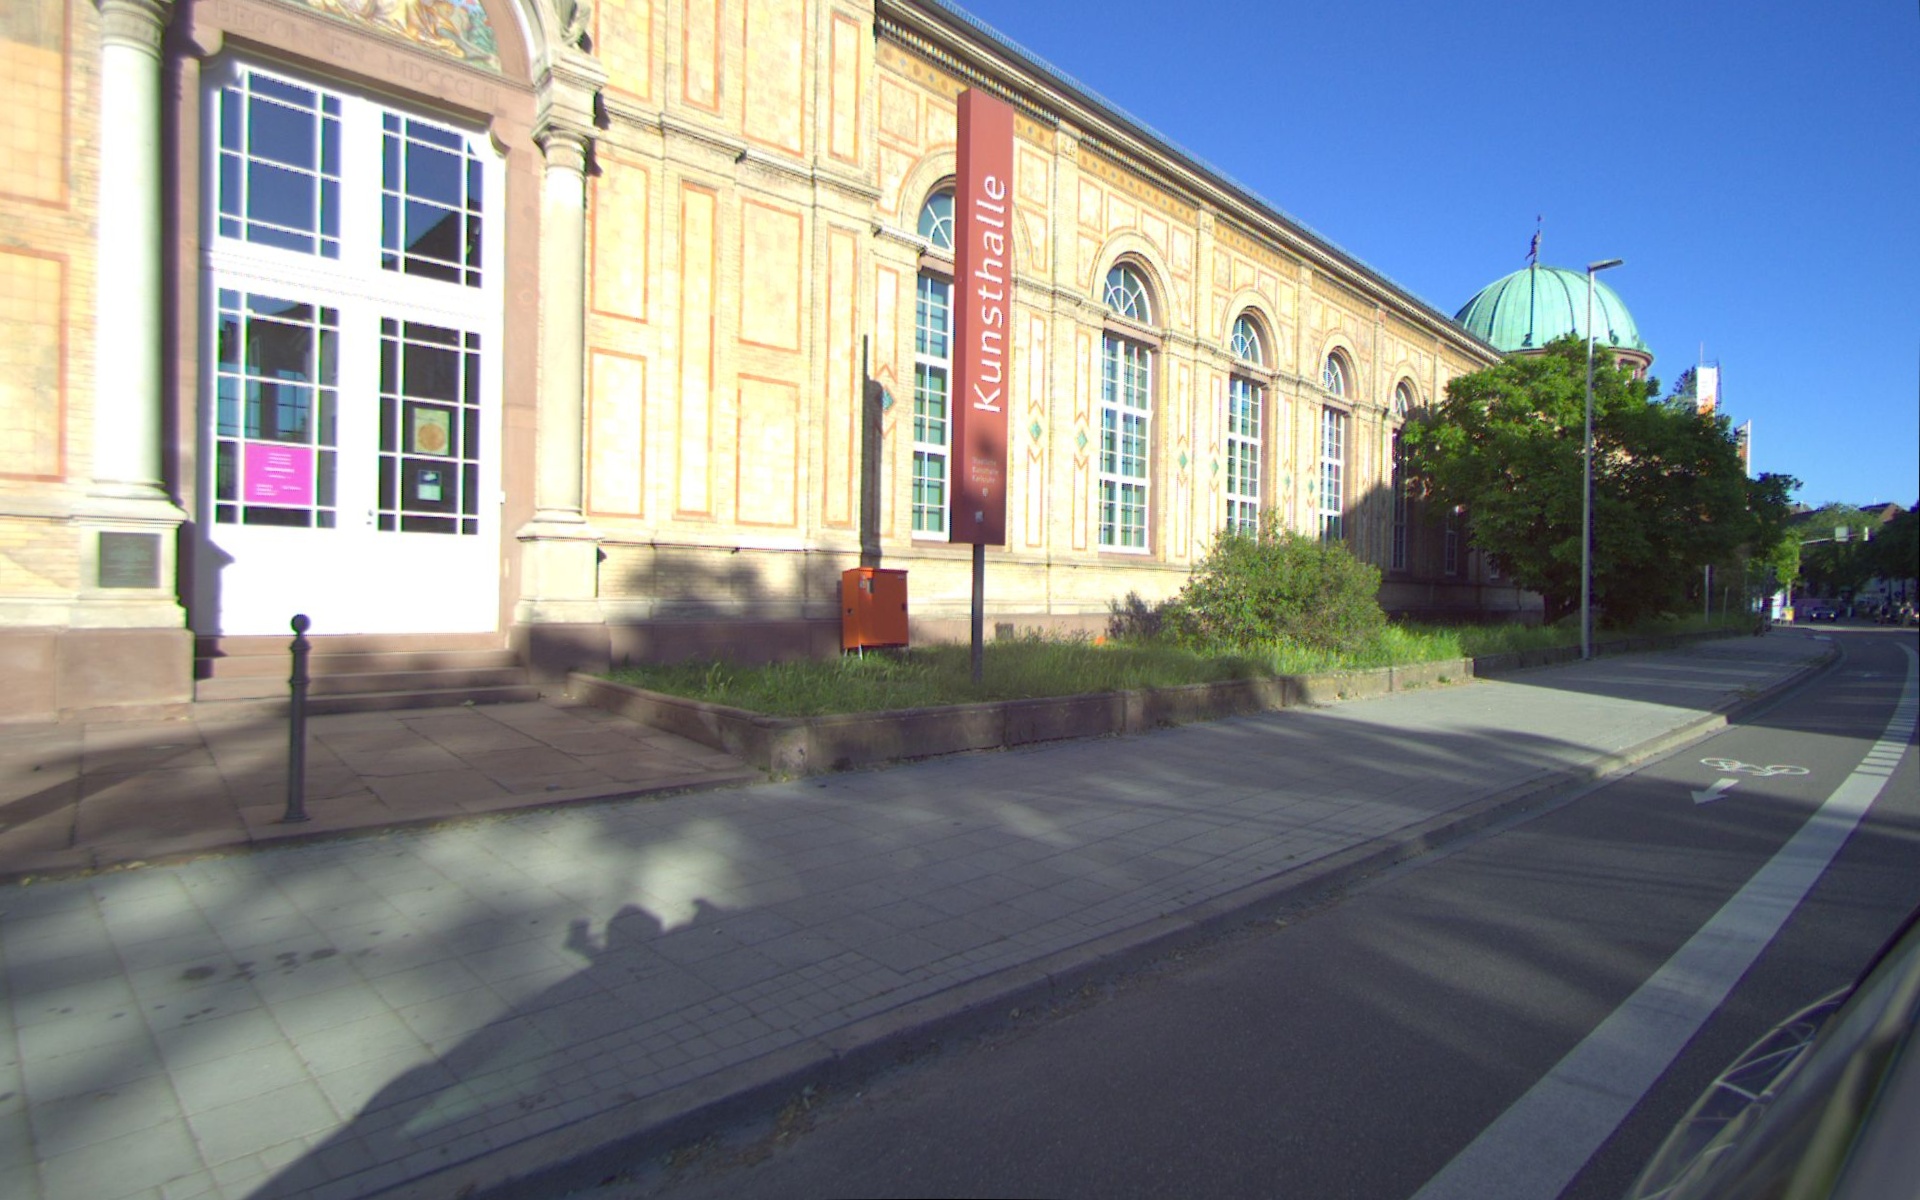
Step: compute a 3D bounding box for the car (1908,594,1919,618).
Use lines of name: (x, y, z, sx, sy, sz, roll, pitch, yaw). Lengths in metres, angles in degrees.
car: (72.160, 0.488, 74.997, 1.984, 1.771, 4.690, 2, 1, 33)

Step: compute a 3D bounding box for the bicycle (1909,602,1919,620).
bicycle: (63.529, 0.749, 67.047, 0.827, 1.157, 1.942, 1, 1, 39)

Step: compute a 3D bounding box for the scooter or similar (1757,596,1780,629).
scooter or similar: (33.853, 0.528, 42.364, 0.555, 1.325, 1.803, 2, 1, 44)

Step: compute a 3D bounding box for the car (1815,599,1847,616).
car: (75.861, 0.626, 88.154, 1.544, 1.311, 3.595, 5, 4, 33)

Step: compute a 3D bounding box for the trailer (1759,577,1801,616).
trailer: (58.796, -0.257, 72.609, 2.076, 2.559, 4.431, 4, 2, 37)

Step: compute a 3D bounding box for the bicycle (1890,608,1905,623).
bicycle: (69.495, 1.130, 75.039, 0.667, 1.086, 1.729, 1, 0, 37)

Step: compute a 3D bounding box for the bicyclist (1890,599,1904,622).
bicyclist: (69.518, 0.789, 75.066, 0.671, 1.673, 0.875, 1, 0, 37)

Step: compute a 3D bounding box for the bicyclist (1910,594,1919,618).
bicyclist: (63.685, 0.406, 67.206, 0.801, 1.628, 0.813, 2, 1, 39)
